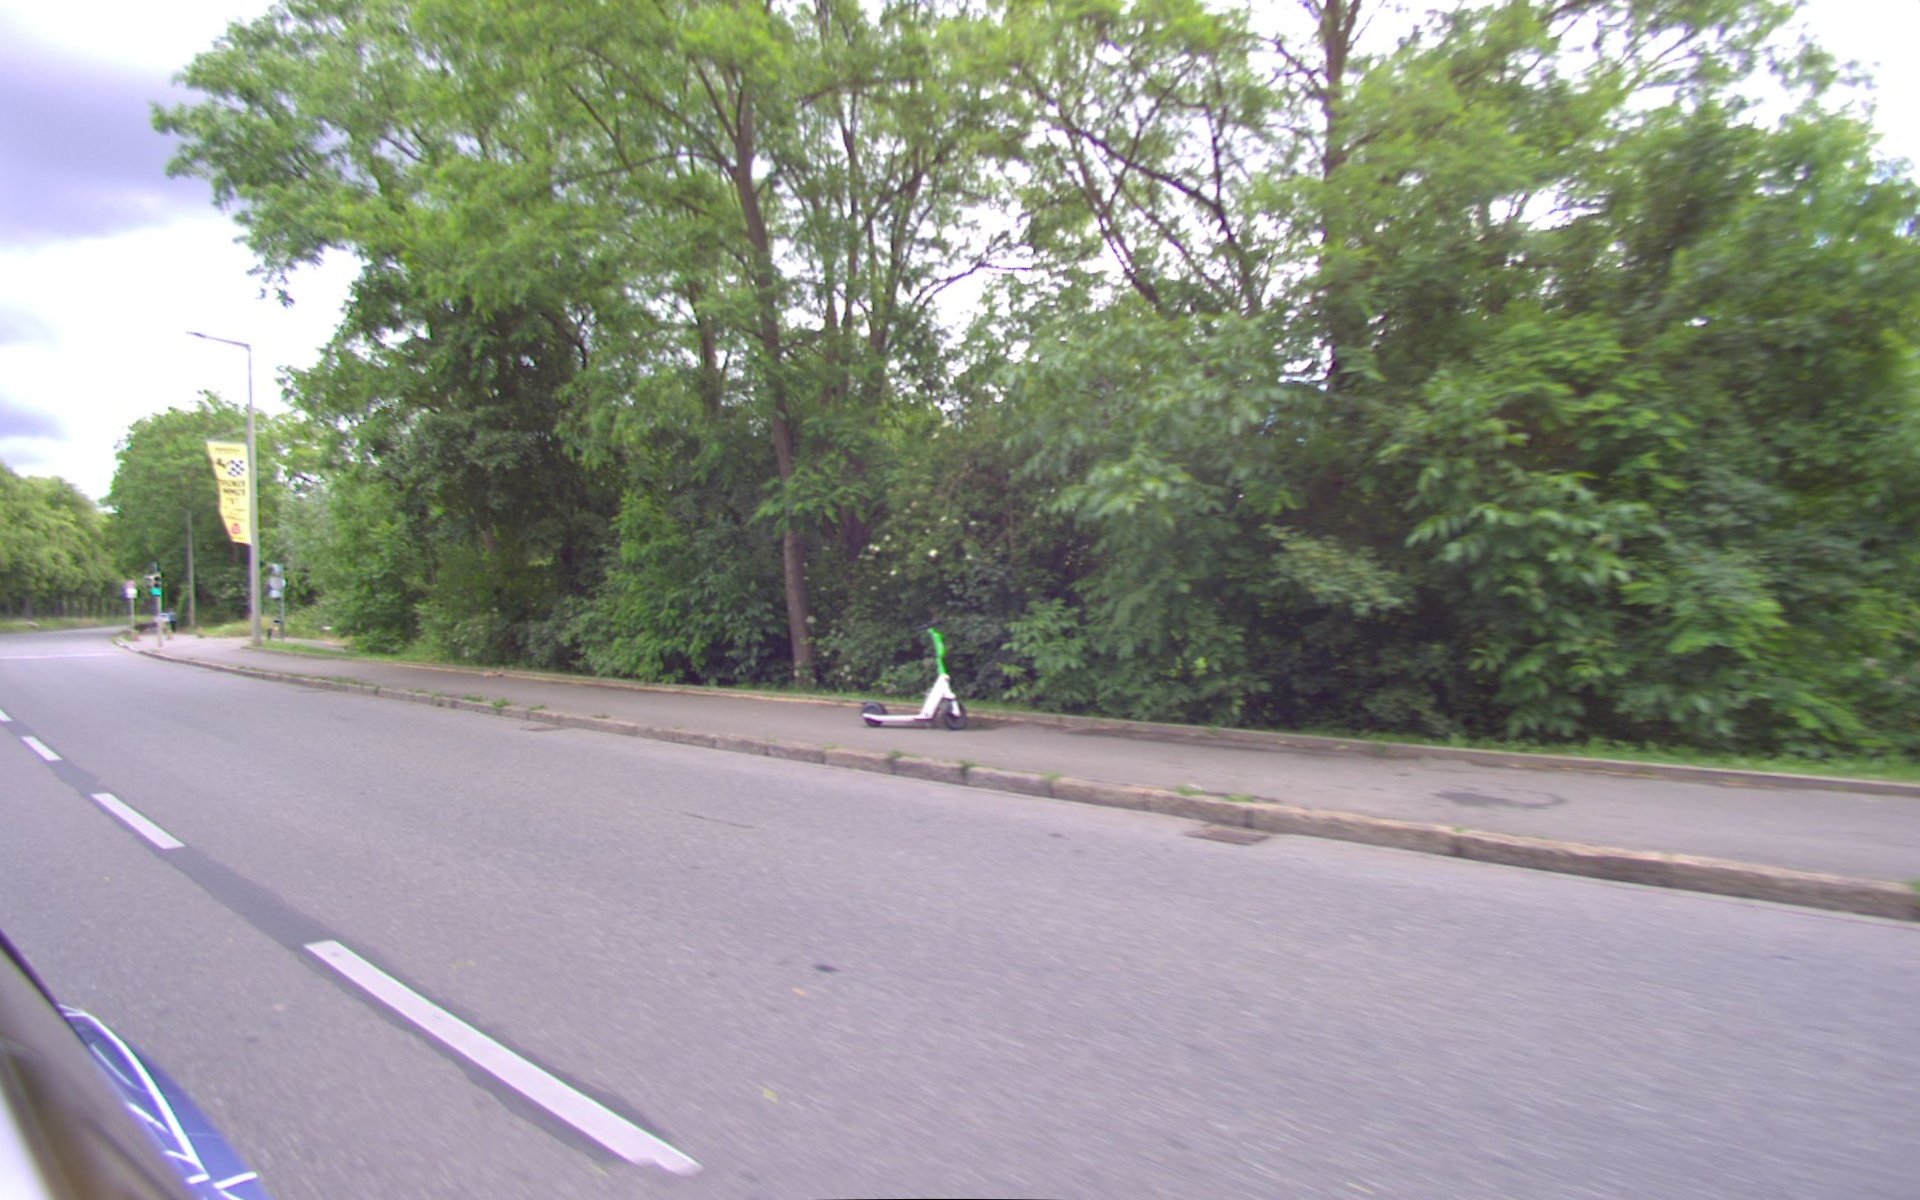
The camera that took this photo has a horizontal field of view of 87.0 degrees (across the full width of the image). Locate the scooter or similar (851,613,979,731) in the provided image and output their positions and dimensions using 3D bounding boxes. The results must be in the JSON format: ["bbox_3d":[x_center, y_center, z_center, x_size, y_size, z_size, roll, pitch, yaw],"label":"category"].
[{"bbox_3d":[-0.483,0.758,10.754,1.288,1.193,0.363,-2,1,22],"label":"scooter or similar"}]

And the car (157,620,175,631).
[{"bbox_3d":[-108.468,3.414,138.263,1.751,1.450,4.368,0,-1,-40],"label":"car"}]
